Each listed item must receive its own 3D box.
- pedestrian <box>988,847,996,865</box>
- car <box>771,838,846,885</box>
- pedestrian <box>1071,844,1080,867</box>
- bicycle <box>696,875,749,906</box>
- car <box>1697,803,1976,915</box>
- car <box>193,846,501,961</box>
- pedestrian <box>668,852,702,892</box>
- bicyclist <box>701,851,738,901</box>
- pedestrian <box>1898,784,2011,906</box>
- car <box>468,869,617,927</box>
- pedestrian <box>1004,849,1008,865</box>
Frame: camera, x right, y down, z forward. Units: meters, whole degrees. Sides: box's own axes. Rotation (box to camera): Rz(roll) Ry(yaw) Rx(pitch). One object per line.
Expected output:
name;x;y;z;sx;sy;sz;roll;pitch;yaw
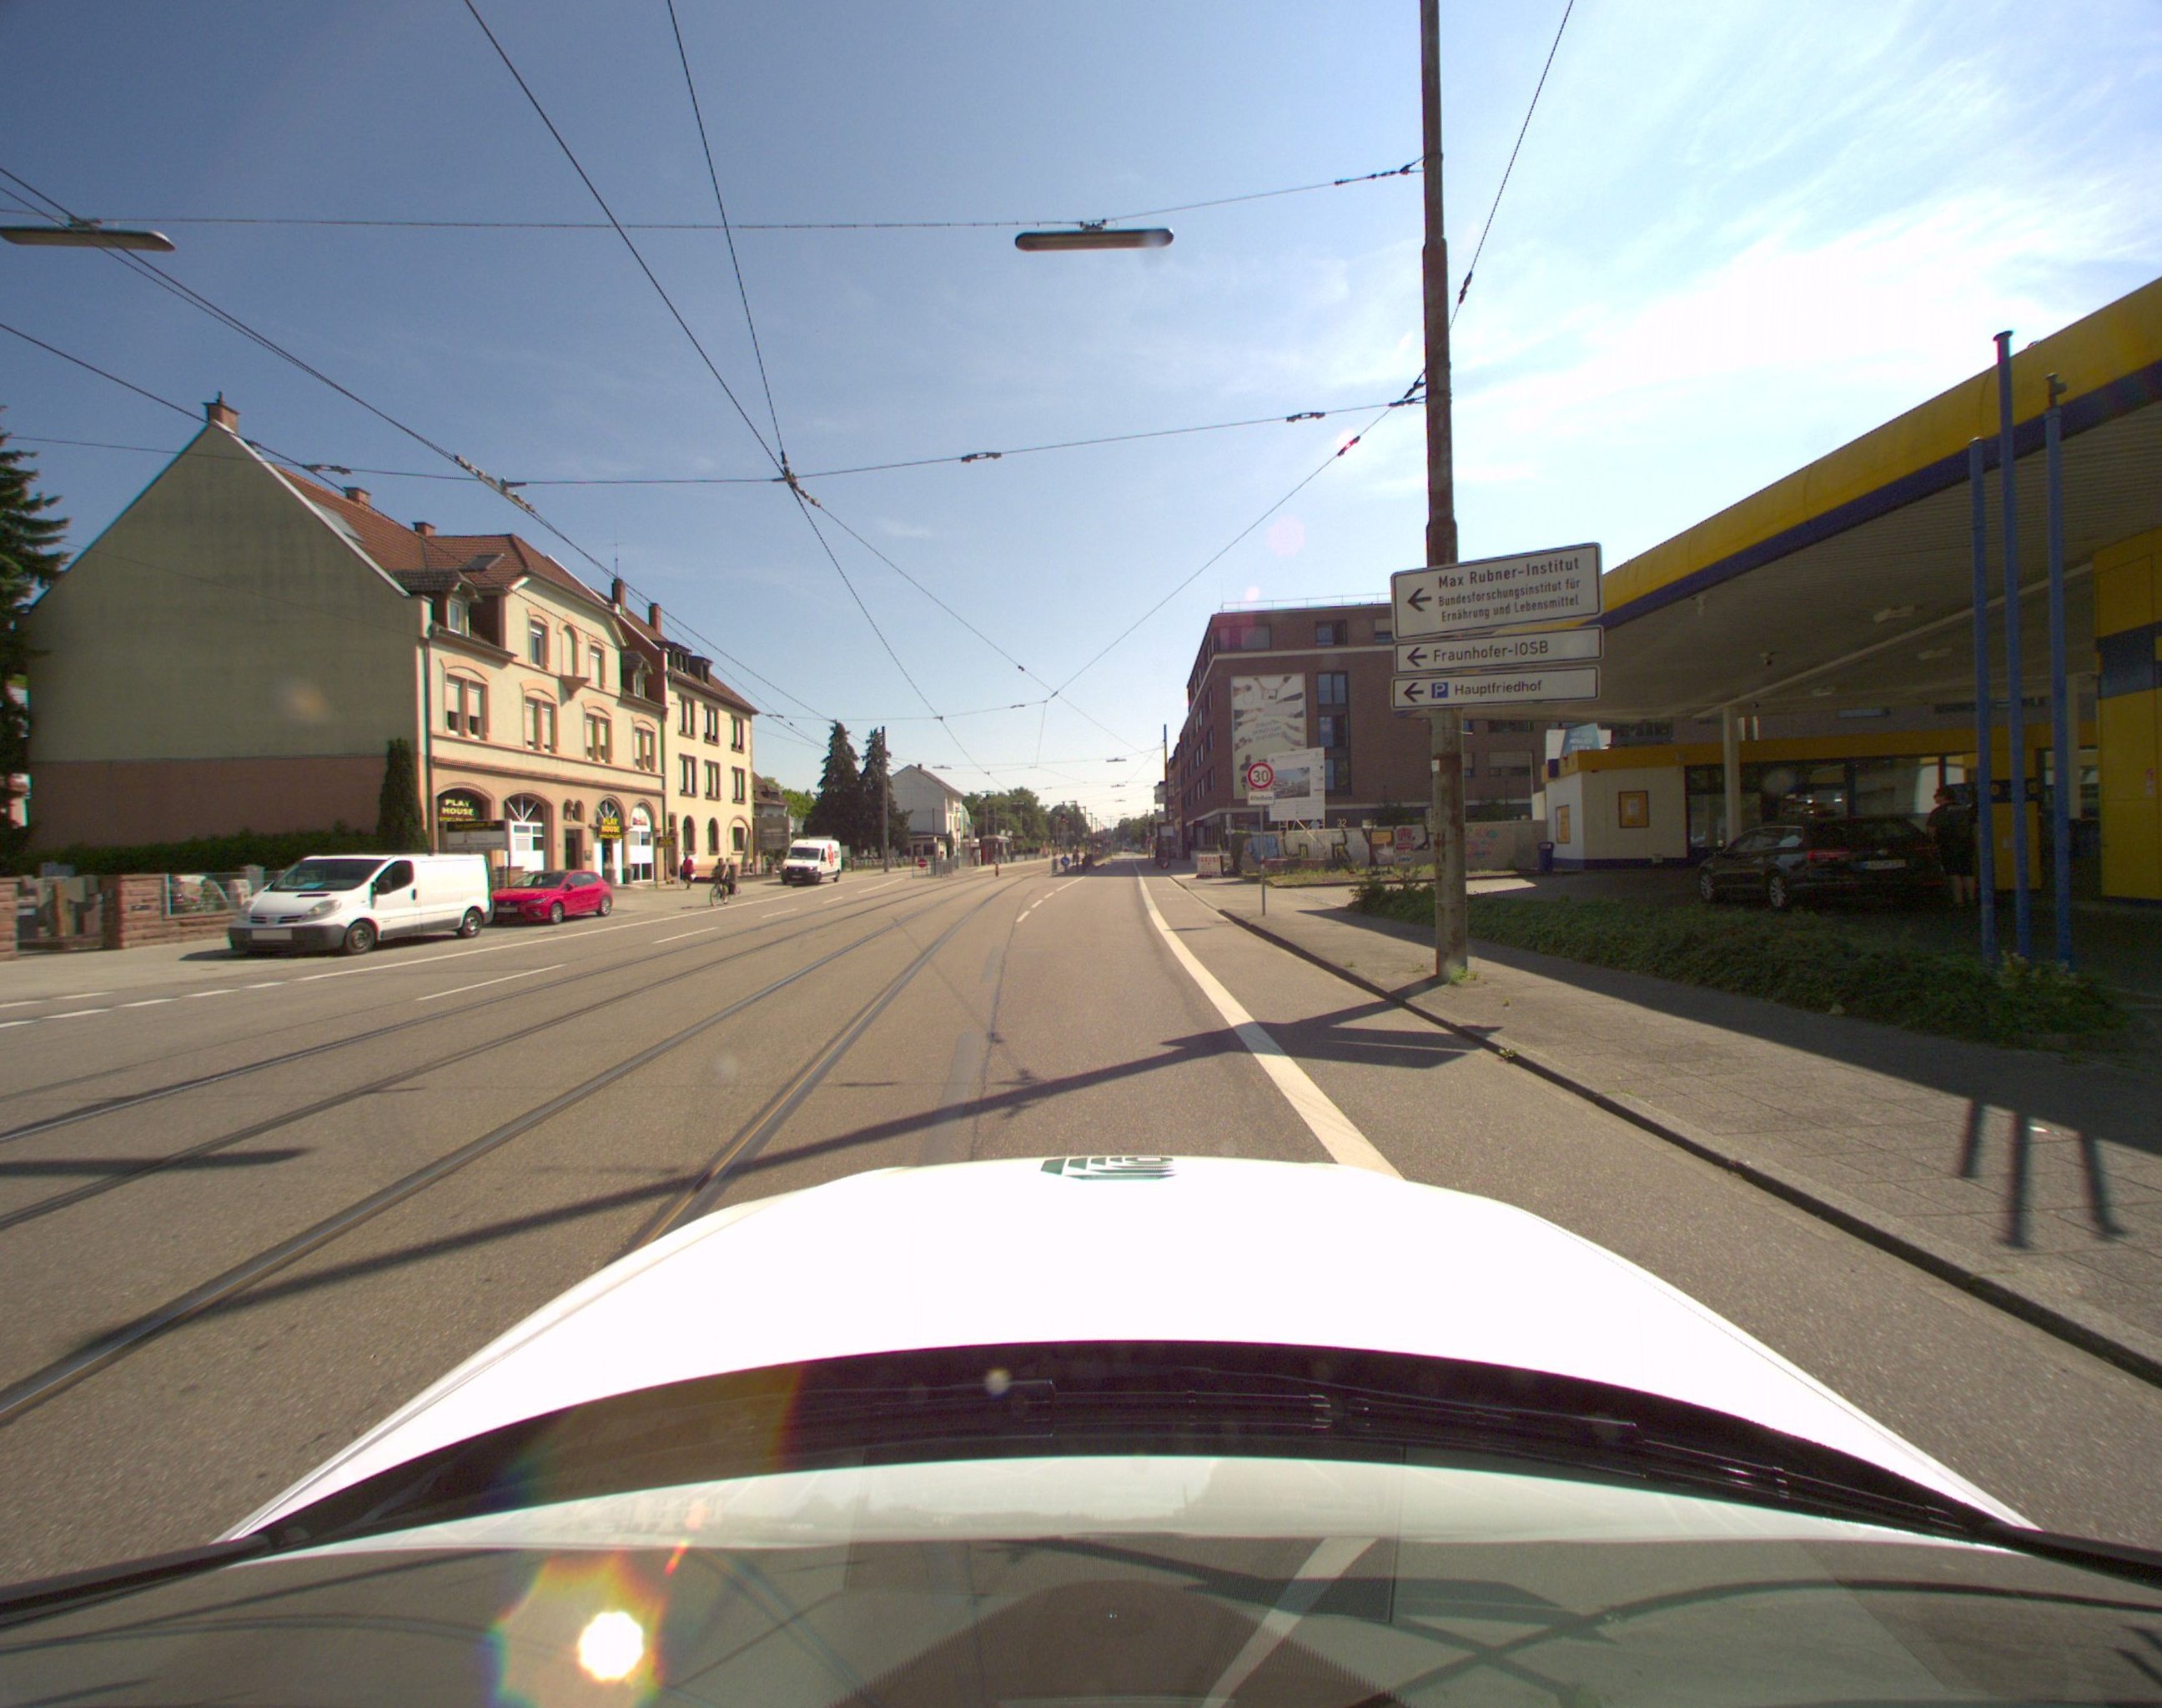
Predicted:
pedestrian;-8.861;0.207;80.886;0.704;1.690;0.416;-2;0;-5
car;-15.631;0.387;47.158;2.324;2.535;6.500;0;0;-2
pedestrian;-0.442;0.079;63.768;0.554;1.760;0.793;-2;0;-3
bicycle;-12.879;1.280;29.303;0.605;0.984;2.170;-3;0;9
car;12.238;0.083;13.635;1.741;1.455;4.431;-5;-2;20
car;-14.924;0.878;17.078;2.079;2.013;4.904;-1;0;-2
pedestrian;-18.704;0.834;38.505;0.937;1.815;1.132;-2;0;6
bicyclist;-12.947;0.776;29.179;0.712;1.724;0.990;-2;0;9
pedestrian;12.996;-0.134;12.136;0.853;1.725;0.745;-2;0;-1
car;-15.165;1.181;23.217;1.716;1.406;3.997;-1;0;-3
pedestrian;-8.438;0.327;91.788;0.415;1.690;0.705;-2;0;-10
